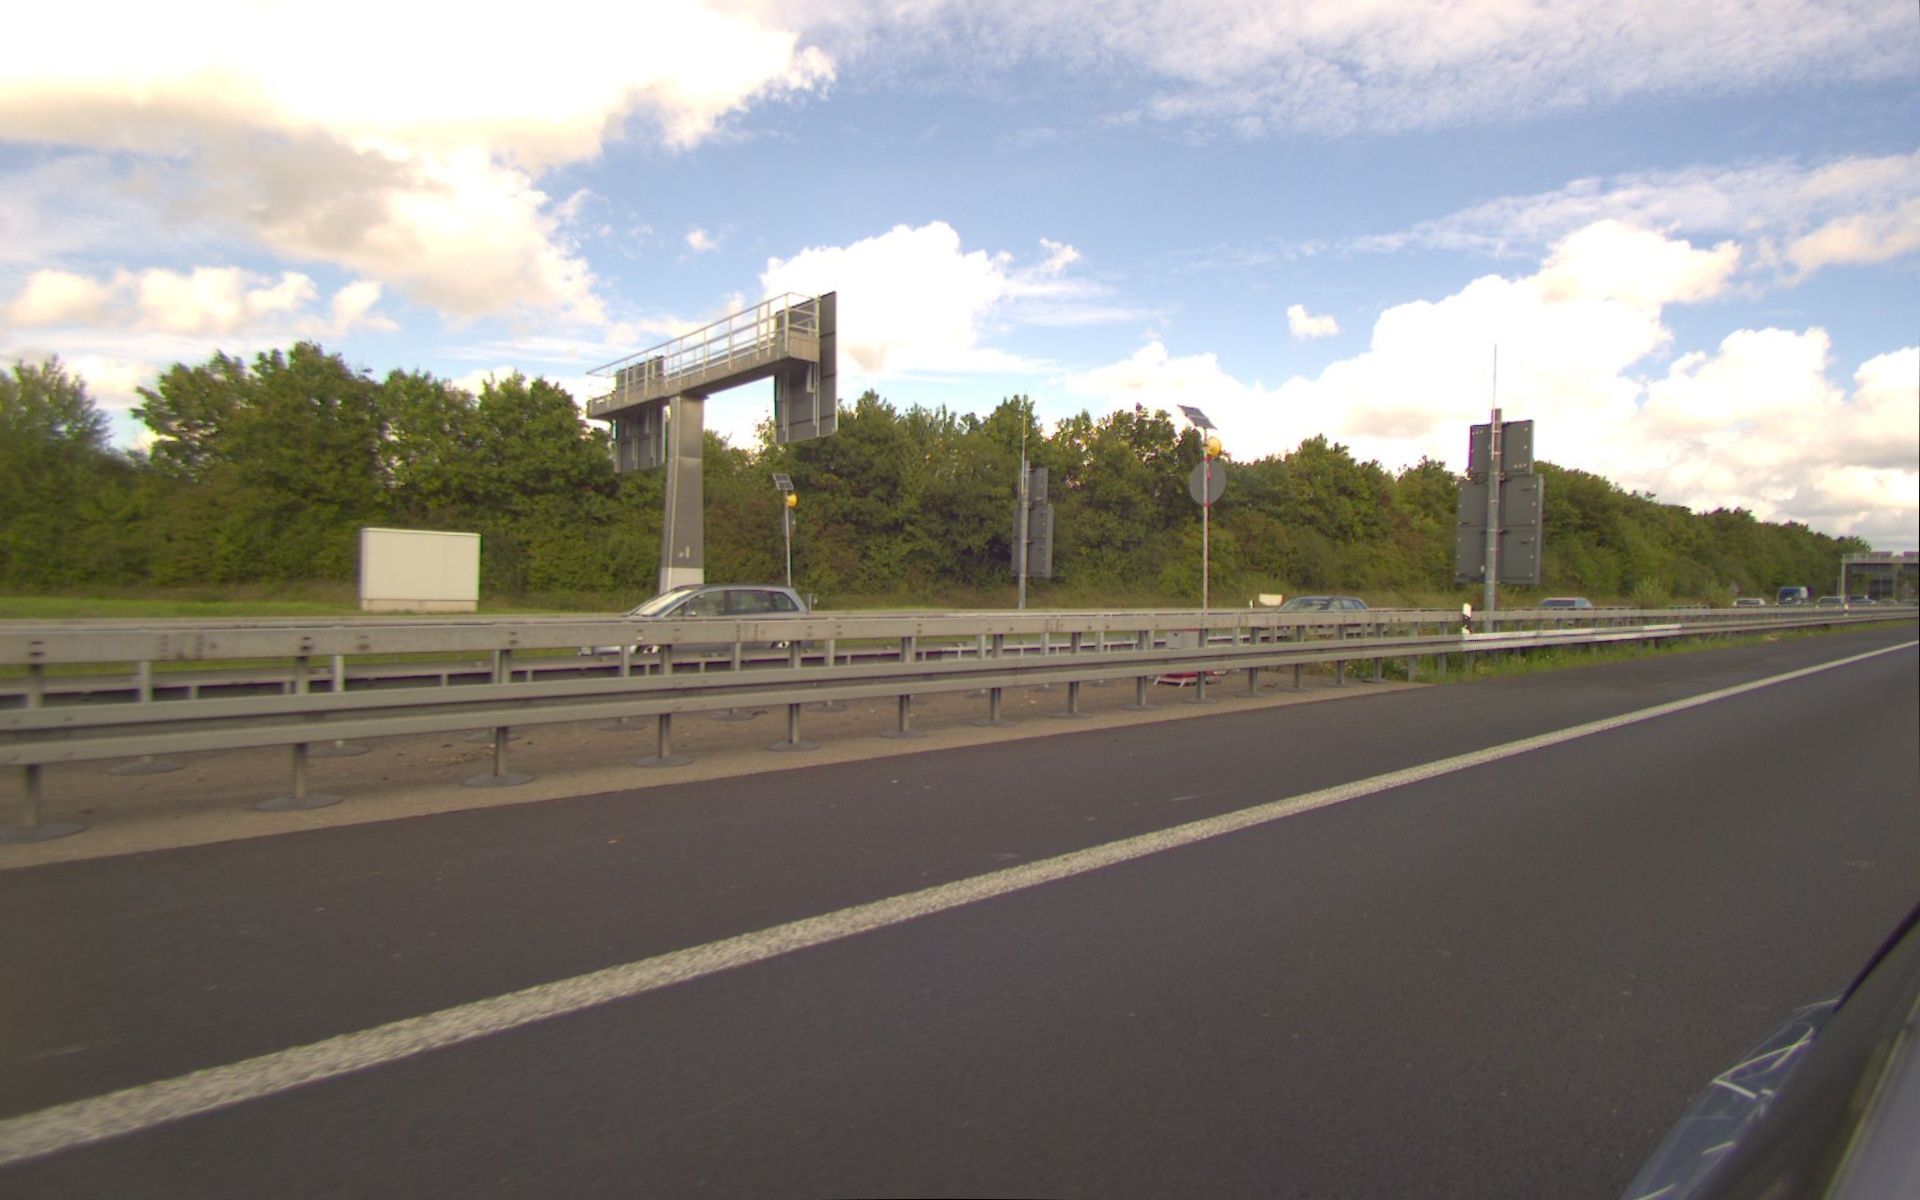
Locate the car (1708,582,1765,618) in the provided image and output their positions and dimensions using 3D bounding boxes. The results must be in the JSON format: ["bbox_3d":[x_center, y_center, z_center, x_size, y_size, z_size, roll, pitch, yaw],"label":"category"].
[{"bbox_3d":[47.907,-0.023,62.398,3.931,2.038,1.997,0,3,-41],"label":"car"}]

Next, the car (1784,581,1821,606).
[{"bbox_3d":[79.101,-0.631,94.964,5.041,2.213,1.996,0,2,-43],"label":"car"}]

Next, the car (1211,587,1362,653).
[{"bbox_3d":[8.396,0.447,25.894,3.932,1.503,1.996,0,2,-43],"label":"car"}]

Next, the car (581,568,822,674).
[{"bbox_3d":[-4.817,0.314,19.086,3.931,1.729,1.997,0,3,-42],"label":"car"}]
